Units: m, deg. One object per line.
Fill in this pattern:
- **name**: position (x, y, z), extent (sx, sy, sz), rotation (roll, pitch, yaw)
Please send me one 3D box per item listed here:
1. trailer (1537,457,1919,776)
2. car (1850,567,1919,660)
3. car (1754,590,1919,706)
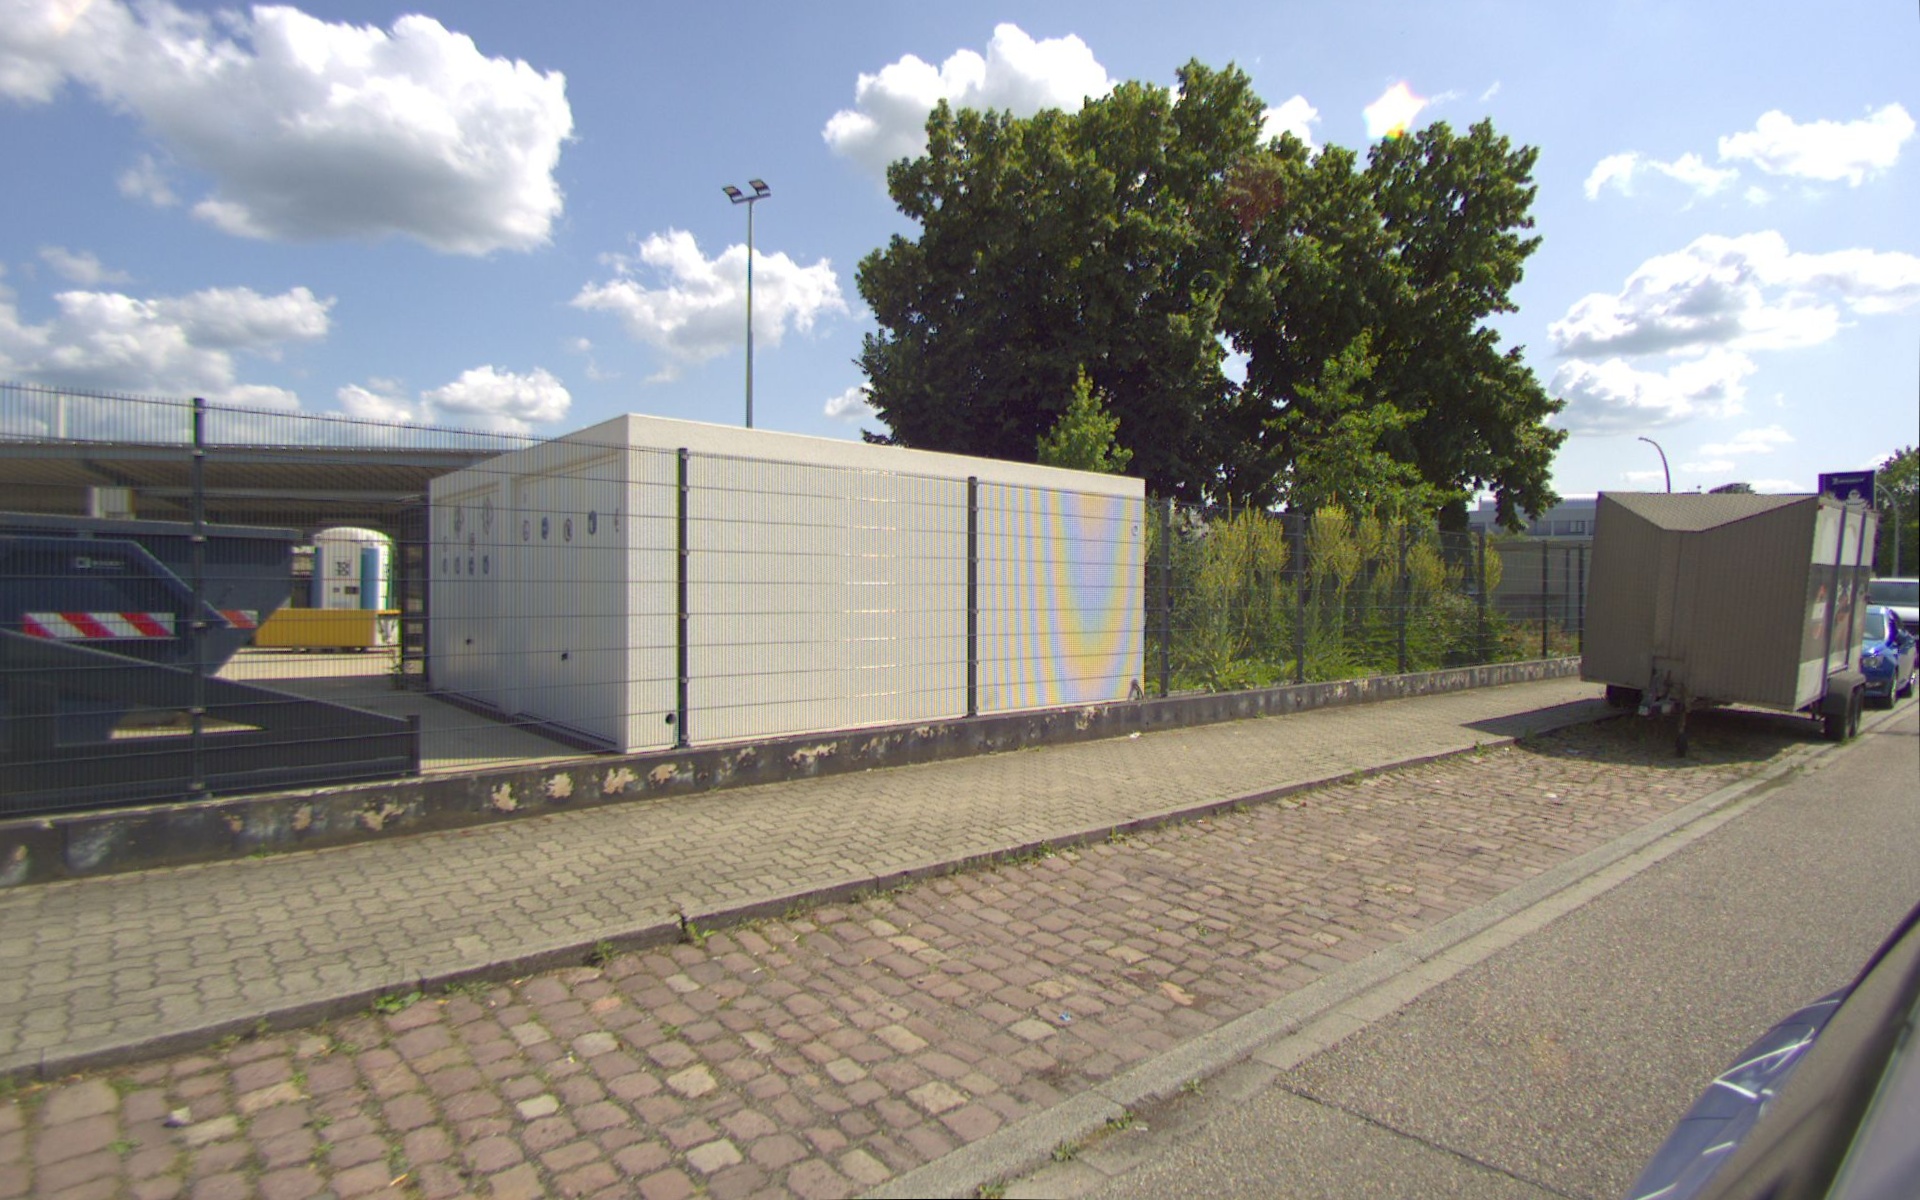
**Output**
- **trailer**: position (9.041, 0.037, 11.636), extent (6.114, 2.770, 2.209), rotation (-1, 4, -41)
- **car**: position (23.087, 0.278, 24.192), extent (5.551, 2.039, 1.997), rotation (-1, 1, -41)
- **car**: position (13.884, 0.631, 15.739), extent (4.001, 1.478, 1.694), rotation (-1, 4, -42)
